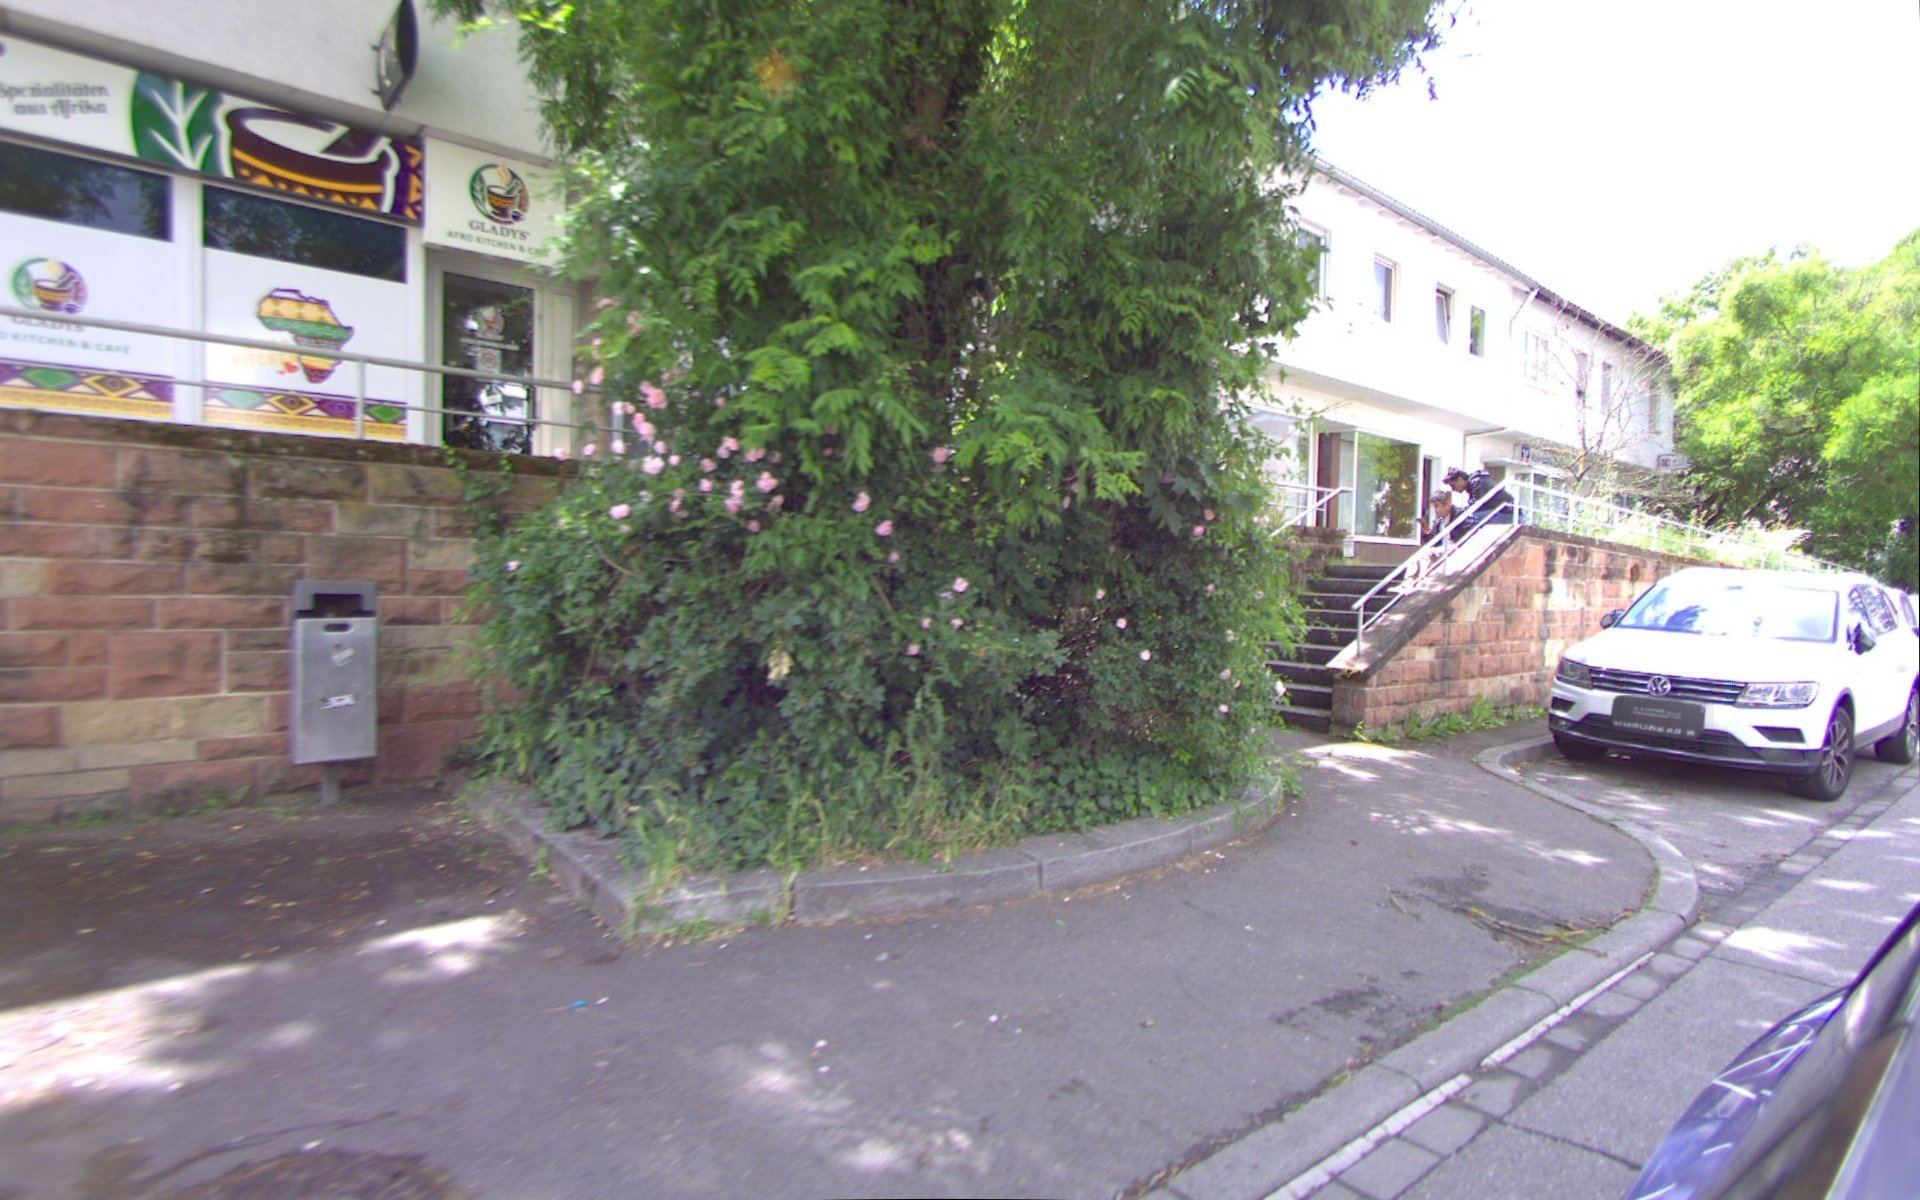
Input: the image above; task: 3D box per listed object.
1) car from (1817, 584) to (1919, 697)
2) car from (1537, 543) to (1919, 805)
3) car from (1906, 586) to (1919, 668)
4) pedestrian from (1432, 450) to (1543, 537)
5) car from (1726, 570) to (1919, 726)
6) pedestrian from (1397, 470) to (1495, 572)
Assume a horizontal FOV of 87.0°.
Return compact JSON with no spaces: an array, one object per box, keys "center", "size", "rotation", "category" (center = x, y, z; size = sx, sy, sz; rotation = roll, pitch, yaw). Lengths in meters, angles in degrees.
[{"center":[14.238,0.560,15.056],"size":[3.754,1.508,1.648],"rotation":[0,1,-40],"category":"car"},{"center":[6.942,0.455,8.690],"size":[4.491,1.702,1.829],"rotation":[0,2,-38],"category":"car"},{"center":[19.141,0.532,19.050],"size":[3.613,1.474,1.611],"rotation":[0,3,-42],"category":"car"},{"center":[5.382,-1.063,10.339],"size":[0.693,0.800,0.796],"rotation":[1,1,-41],"category":"pedestrian"},{"center":[10.490,0.480,12.010],"size":[3.415,1.571,1.584],"rotation":[0,1,-42],"category":"car"},{"center":[4.828,-0.777,10.054],"size":[0.605,0.956,0.643],"rotation":[1,3,-41],"category":"pedestrian"}]
